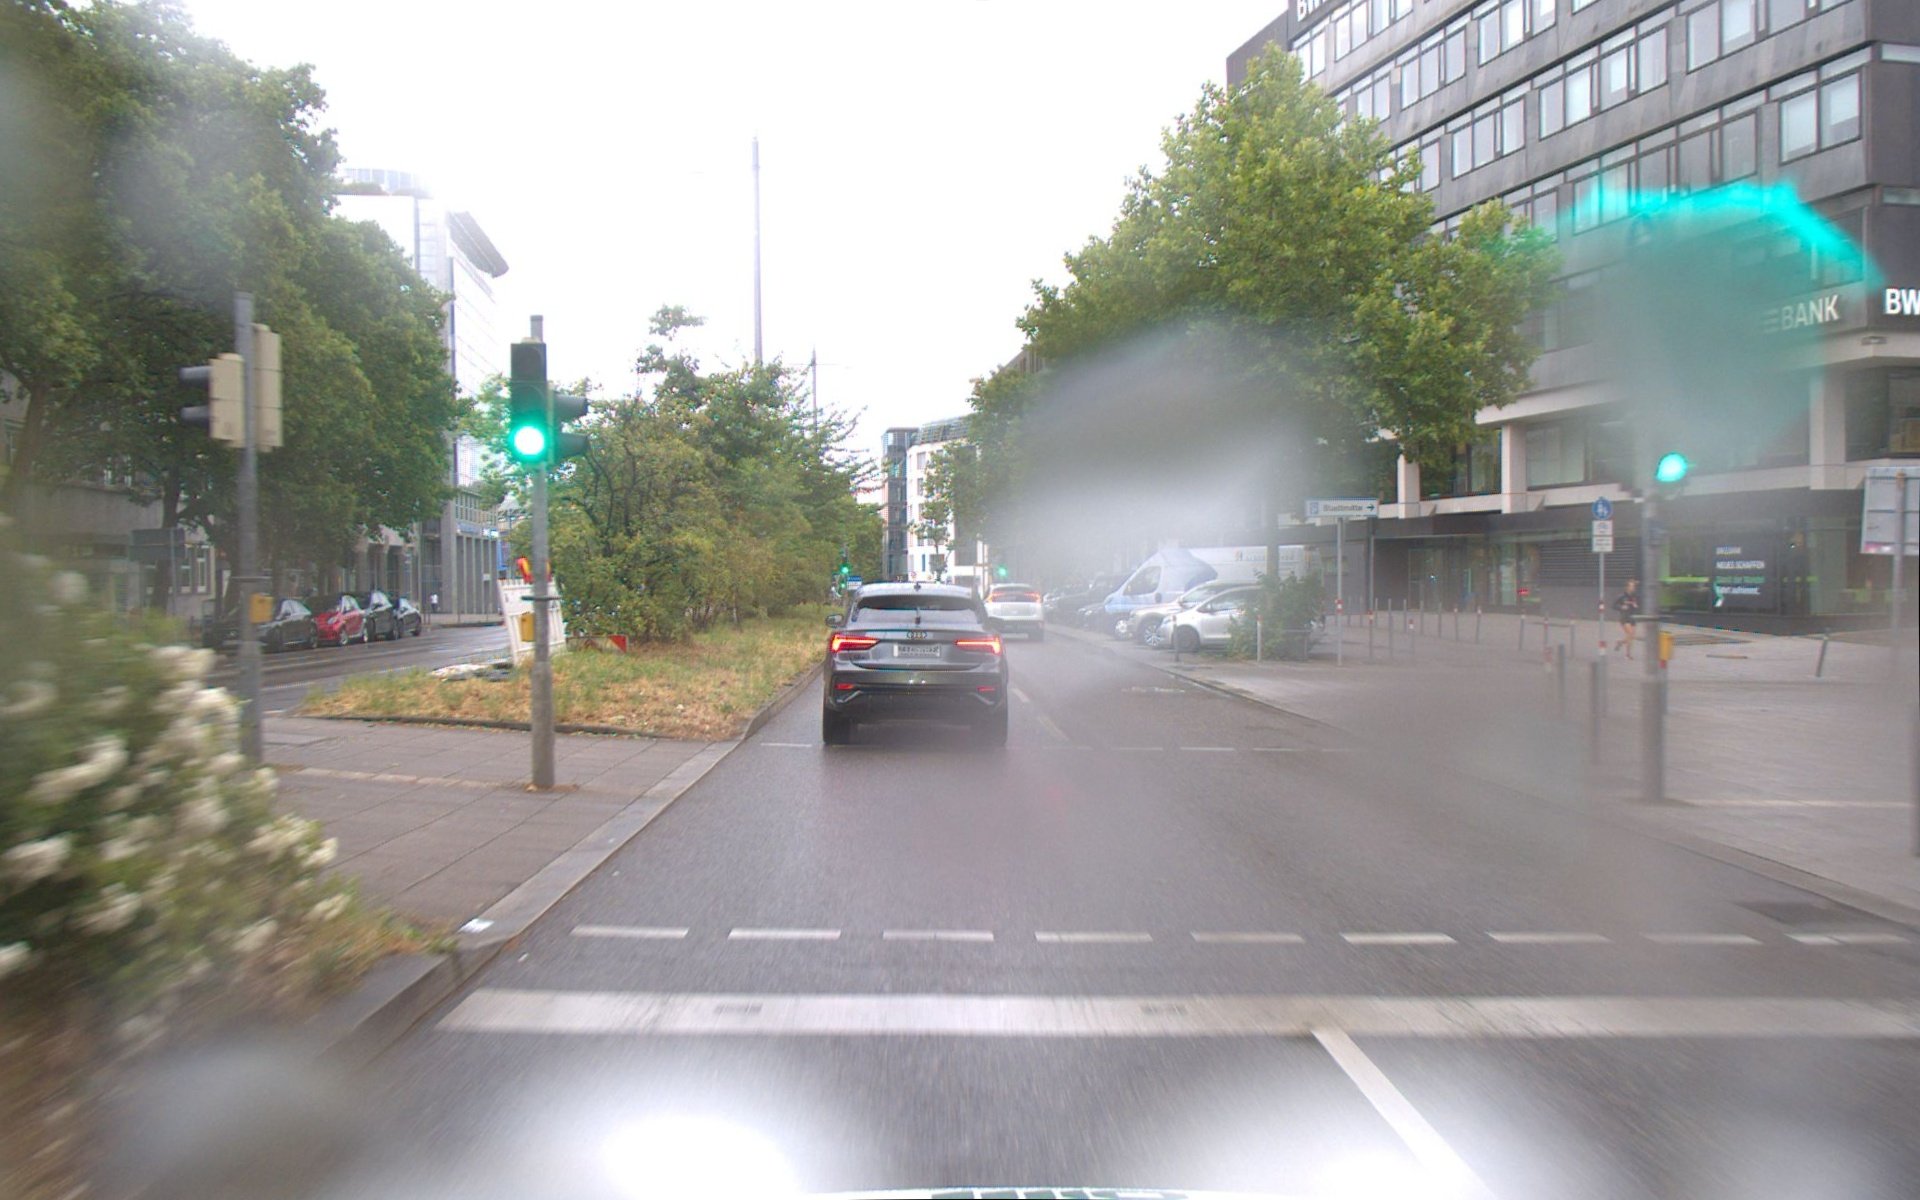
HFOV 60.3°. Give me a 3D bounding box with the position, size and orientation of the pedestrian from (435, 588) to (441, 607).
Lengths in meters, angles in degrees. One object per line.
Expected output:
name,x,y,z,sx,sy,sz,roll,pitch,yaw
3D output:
pedestrian,-39.097,-0.199,123.894,0.384,1.420,0.407,0,0,-4

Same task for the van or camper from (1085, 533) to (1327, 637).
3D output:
van or camper,6.453,-0.368,43.587,5.946,2.603,2.103,0,0,26

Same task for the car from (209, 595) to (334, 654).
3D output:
car,-19.113,0.636,46.159,1.733,1.459,4.668,-3,1,-4

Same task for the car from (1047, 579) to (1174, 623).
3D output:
car,5.743,0.039,63.275,4.462,1.533,1.869,-1,0,23

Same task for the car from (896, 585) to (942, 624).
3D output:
car,-1.672,0.168,67.886,1.812,1.550,4.038,0,0,-1

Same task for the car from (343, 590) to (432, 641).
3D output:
car,-20.477,0.515,59.367,1.733,1.681,4.839,-3,1,-4

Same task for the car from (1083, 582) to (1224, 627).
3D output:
car,6.369,0.149,54.414,4.278,1.461,1.761,0,0,25

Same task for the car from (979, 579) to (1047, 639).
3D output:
car,1.515,0.246,48.810,1.812,1.698,4.038,0,0,-1

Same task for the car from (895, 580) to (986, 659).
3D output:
car,-0.417,0.386,34.684,1.812,1.550,4.038,0,0,-1

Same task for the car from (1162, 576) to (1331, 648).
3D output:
car,6.526,0.253,37.625,3.572,1.574,1.716,0,0,18

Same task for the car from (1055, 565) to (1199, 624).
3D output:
car,6.099,-0.183,60.373,4.838,2.013,1.928,-1,0,25

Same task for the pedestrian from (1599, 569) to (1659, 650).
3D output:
pedestrian,14.464,0.204,35.778,0.789,1.726,1.187,1,0,-2

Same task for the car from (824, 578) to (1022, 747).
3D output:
car,-0.397,0.568,17.217,1.812,1.550,4.037,0,0,-2

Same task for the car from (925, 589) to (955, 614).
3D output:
car,-1.265,0.094,104.282,1.812,1.550,4.038,0,0,-1

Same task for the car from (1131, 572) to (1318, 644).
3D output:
car,6.434,0.171,40.271,4.172,1.696,1.817,0,0,25

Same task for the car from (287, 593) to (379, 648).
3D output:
car,-19.409,0.608,51.335,1.654,1.546,3.622,-3,1,-5

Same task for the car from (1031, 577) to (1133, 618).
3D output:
car,5.443,-0.117,73.762,4.134,1.698,1.838,-1,0,26

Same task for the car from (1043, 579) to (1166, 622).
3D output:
car,5.814,0.018,66.413,4.672,1.560,1.871,-1,0,13
